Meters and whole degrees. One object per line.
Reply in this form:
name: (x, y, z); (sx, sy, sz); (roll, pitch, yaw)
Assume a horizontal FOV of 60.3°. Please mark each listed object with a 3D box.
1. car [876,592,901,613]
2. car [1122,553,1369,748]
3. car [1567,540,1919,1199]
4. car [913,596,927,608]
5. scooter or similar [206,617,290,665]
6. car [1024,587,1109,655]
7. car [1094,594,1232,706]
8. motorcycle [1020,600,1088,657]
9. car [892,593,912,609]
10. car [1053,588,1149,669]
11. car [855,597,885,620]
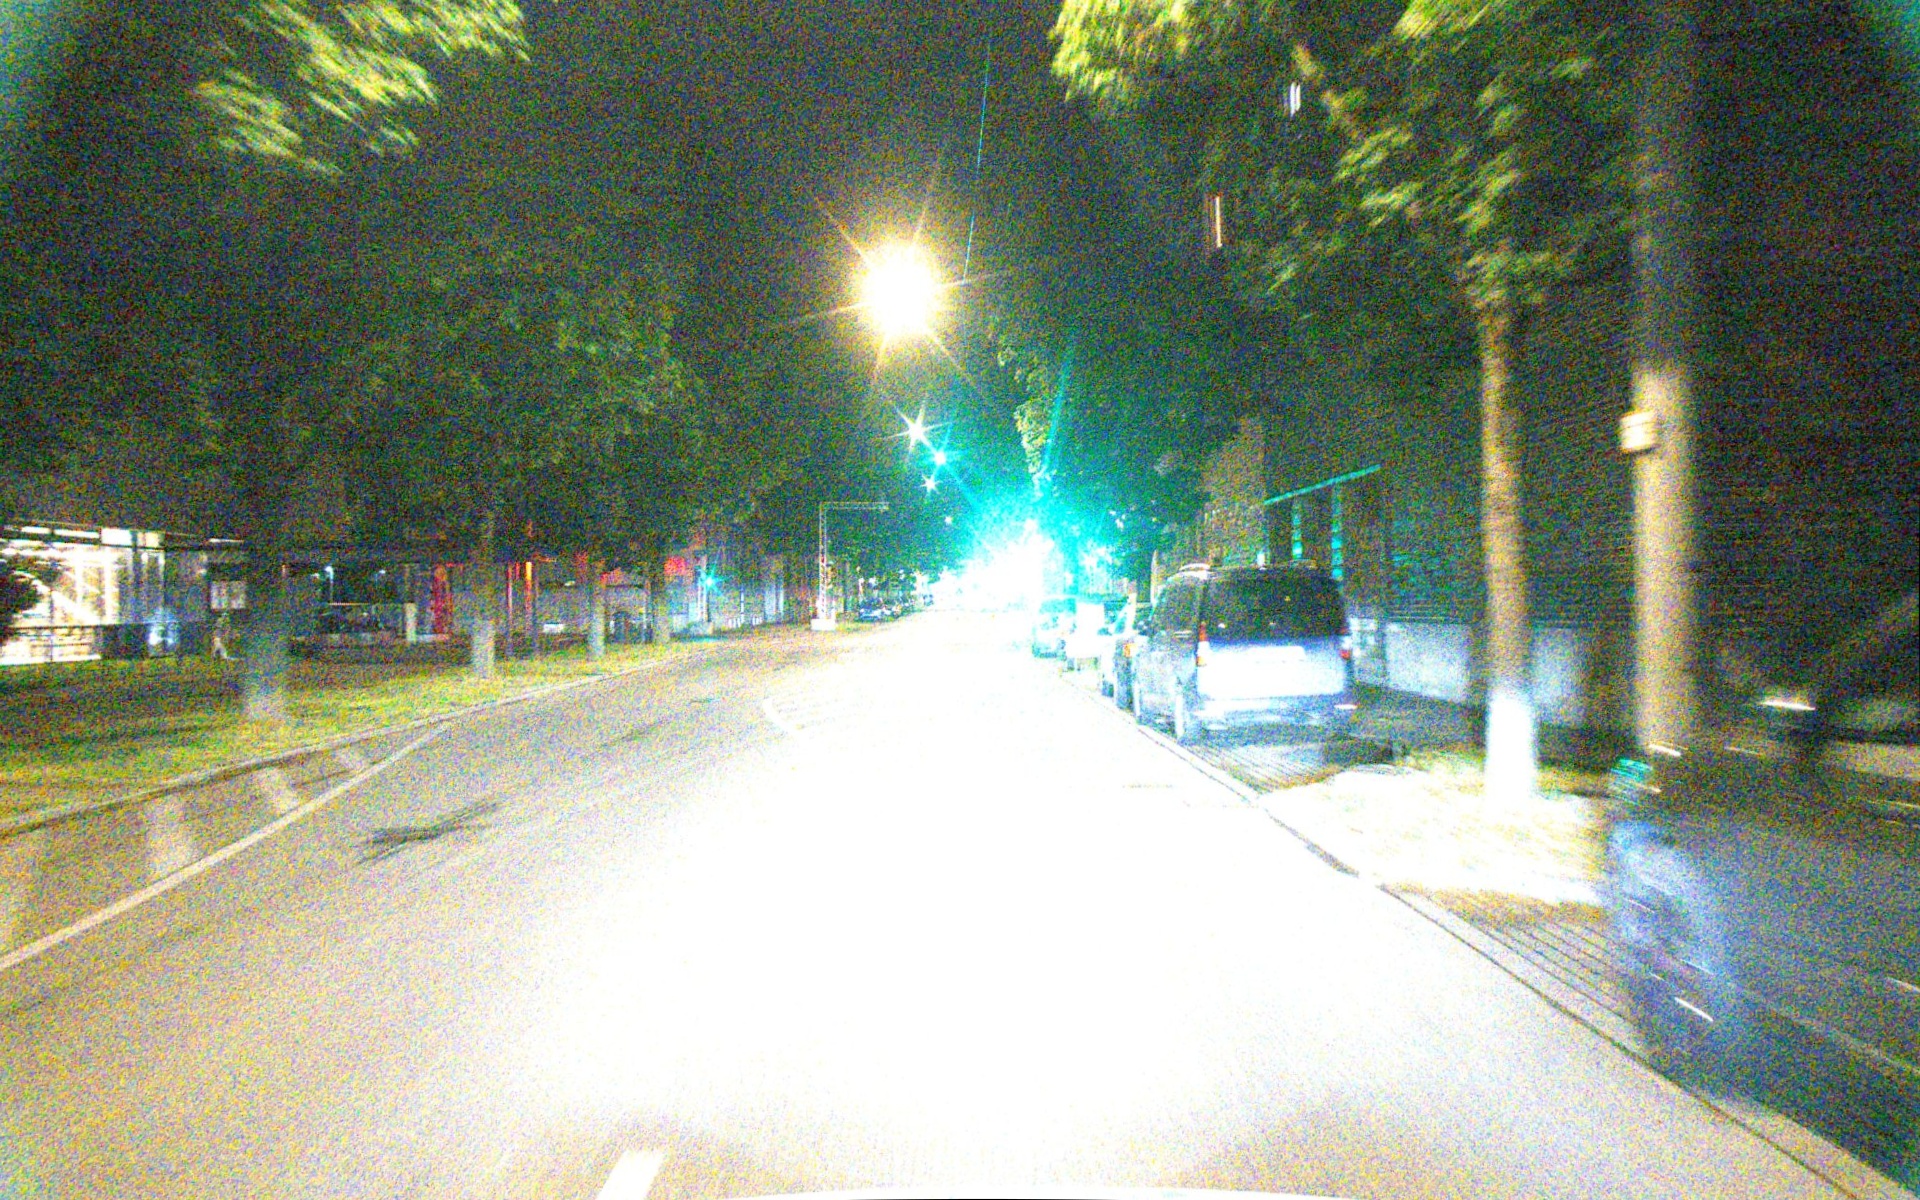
car: (-5.225, 0.160, 121.681); (1.705, 1.440, 3.752); (0, 2, -1)
car: (3.037, 0.488, 18.468); (1.736, 1.838, 4.275); (-2, 0, -3)
car: (3.197, 0.629, 3.920); (1.816, 1.632, 4.208); (-3, 0, -1)
car: (-4.973, 0.220, 205.503); (1.705, 1.440, 3.751); (0, 0, -1)
scooter or similar: (-16.101, 0.913, 37.416); (1.639, 1.025, 0.544); (2, 0, 1)
car: (2.705, 0.505, 42.780); (1.815, 1.618, 4.299); (-1, 0, -1)
car: (2.865, 0.659, 24.017); (1.489, 1.420, 3.984); (-2, 0, 0)
motorcycle: (2.214, 0.650, 38.667); (0.625, 1.292, 2.058); (0, 0, 34)
car: (-5.221, 0.069, 149.218); (1.705, 1.440, 3.751); (0, 0, -1)
car: (2.955, 0.552, 35.308); (1.559, 1.561, 4.137); (-2, 0, -1)
car: (-5.752, 0.540, 106.222); (1.705, 1.440, 3.751); (0, 0, -1)
